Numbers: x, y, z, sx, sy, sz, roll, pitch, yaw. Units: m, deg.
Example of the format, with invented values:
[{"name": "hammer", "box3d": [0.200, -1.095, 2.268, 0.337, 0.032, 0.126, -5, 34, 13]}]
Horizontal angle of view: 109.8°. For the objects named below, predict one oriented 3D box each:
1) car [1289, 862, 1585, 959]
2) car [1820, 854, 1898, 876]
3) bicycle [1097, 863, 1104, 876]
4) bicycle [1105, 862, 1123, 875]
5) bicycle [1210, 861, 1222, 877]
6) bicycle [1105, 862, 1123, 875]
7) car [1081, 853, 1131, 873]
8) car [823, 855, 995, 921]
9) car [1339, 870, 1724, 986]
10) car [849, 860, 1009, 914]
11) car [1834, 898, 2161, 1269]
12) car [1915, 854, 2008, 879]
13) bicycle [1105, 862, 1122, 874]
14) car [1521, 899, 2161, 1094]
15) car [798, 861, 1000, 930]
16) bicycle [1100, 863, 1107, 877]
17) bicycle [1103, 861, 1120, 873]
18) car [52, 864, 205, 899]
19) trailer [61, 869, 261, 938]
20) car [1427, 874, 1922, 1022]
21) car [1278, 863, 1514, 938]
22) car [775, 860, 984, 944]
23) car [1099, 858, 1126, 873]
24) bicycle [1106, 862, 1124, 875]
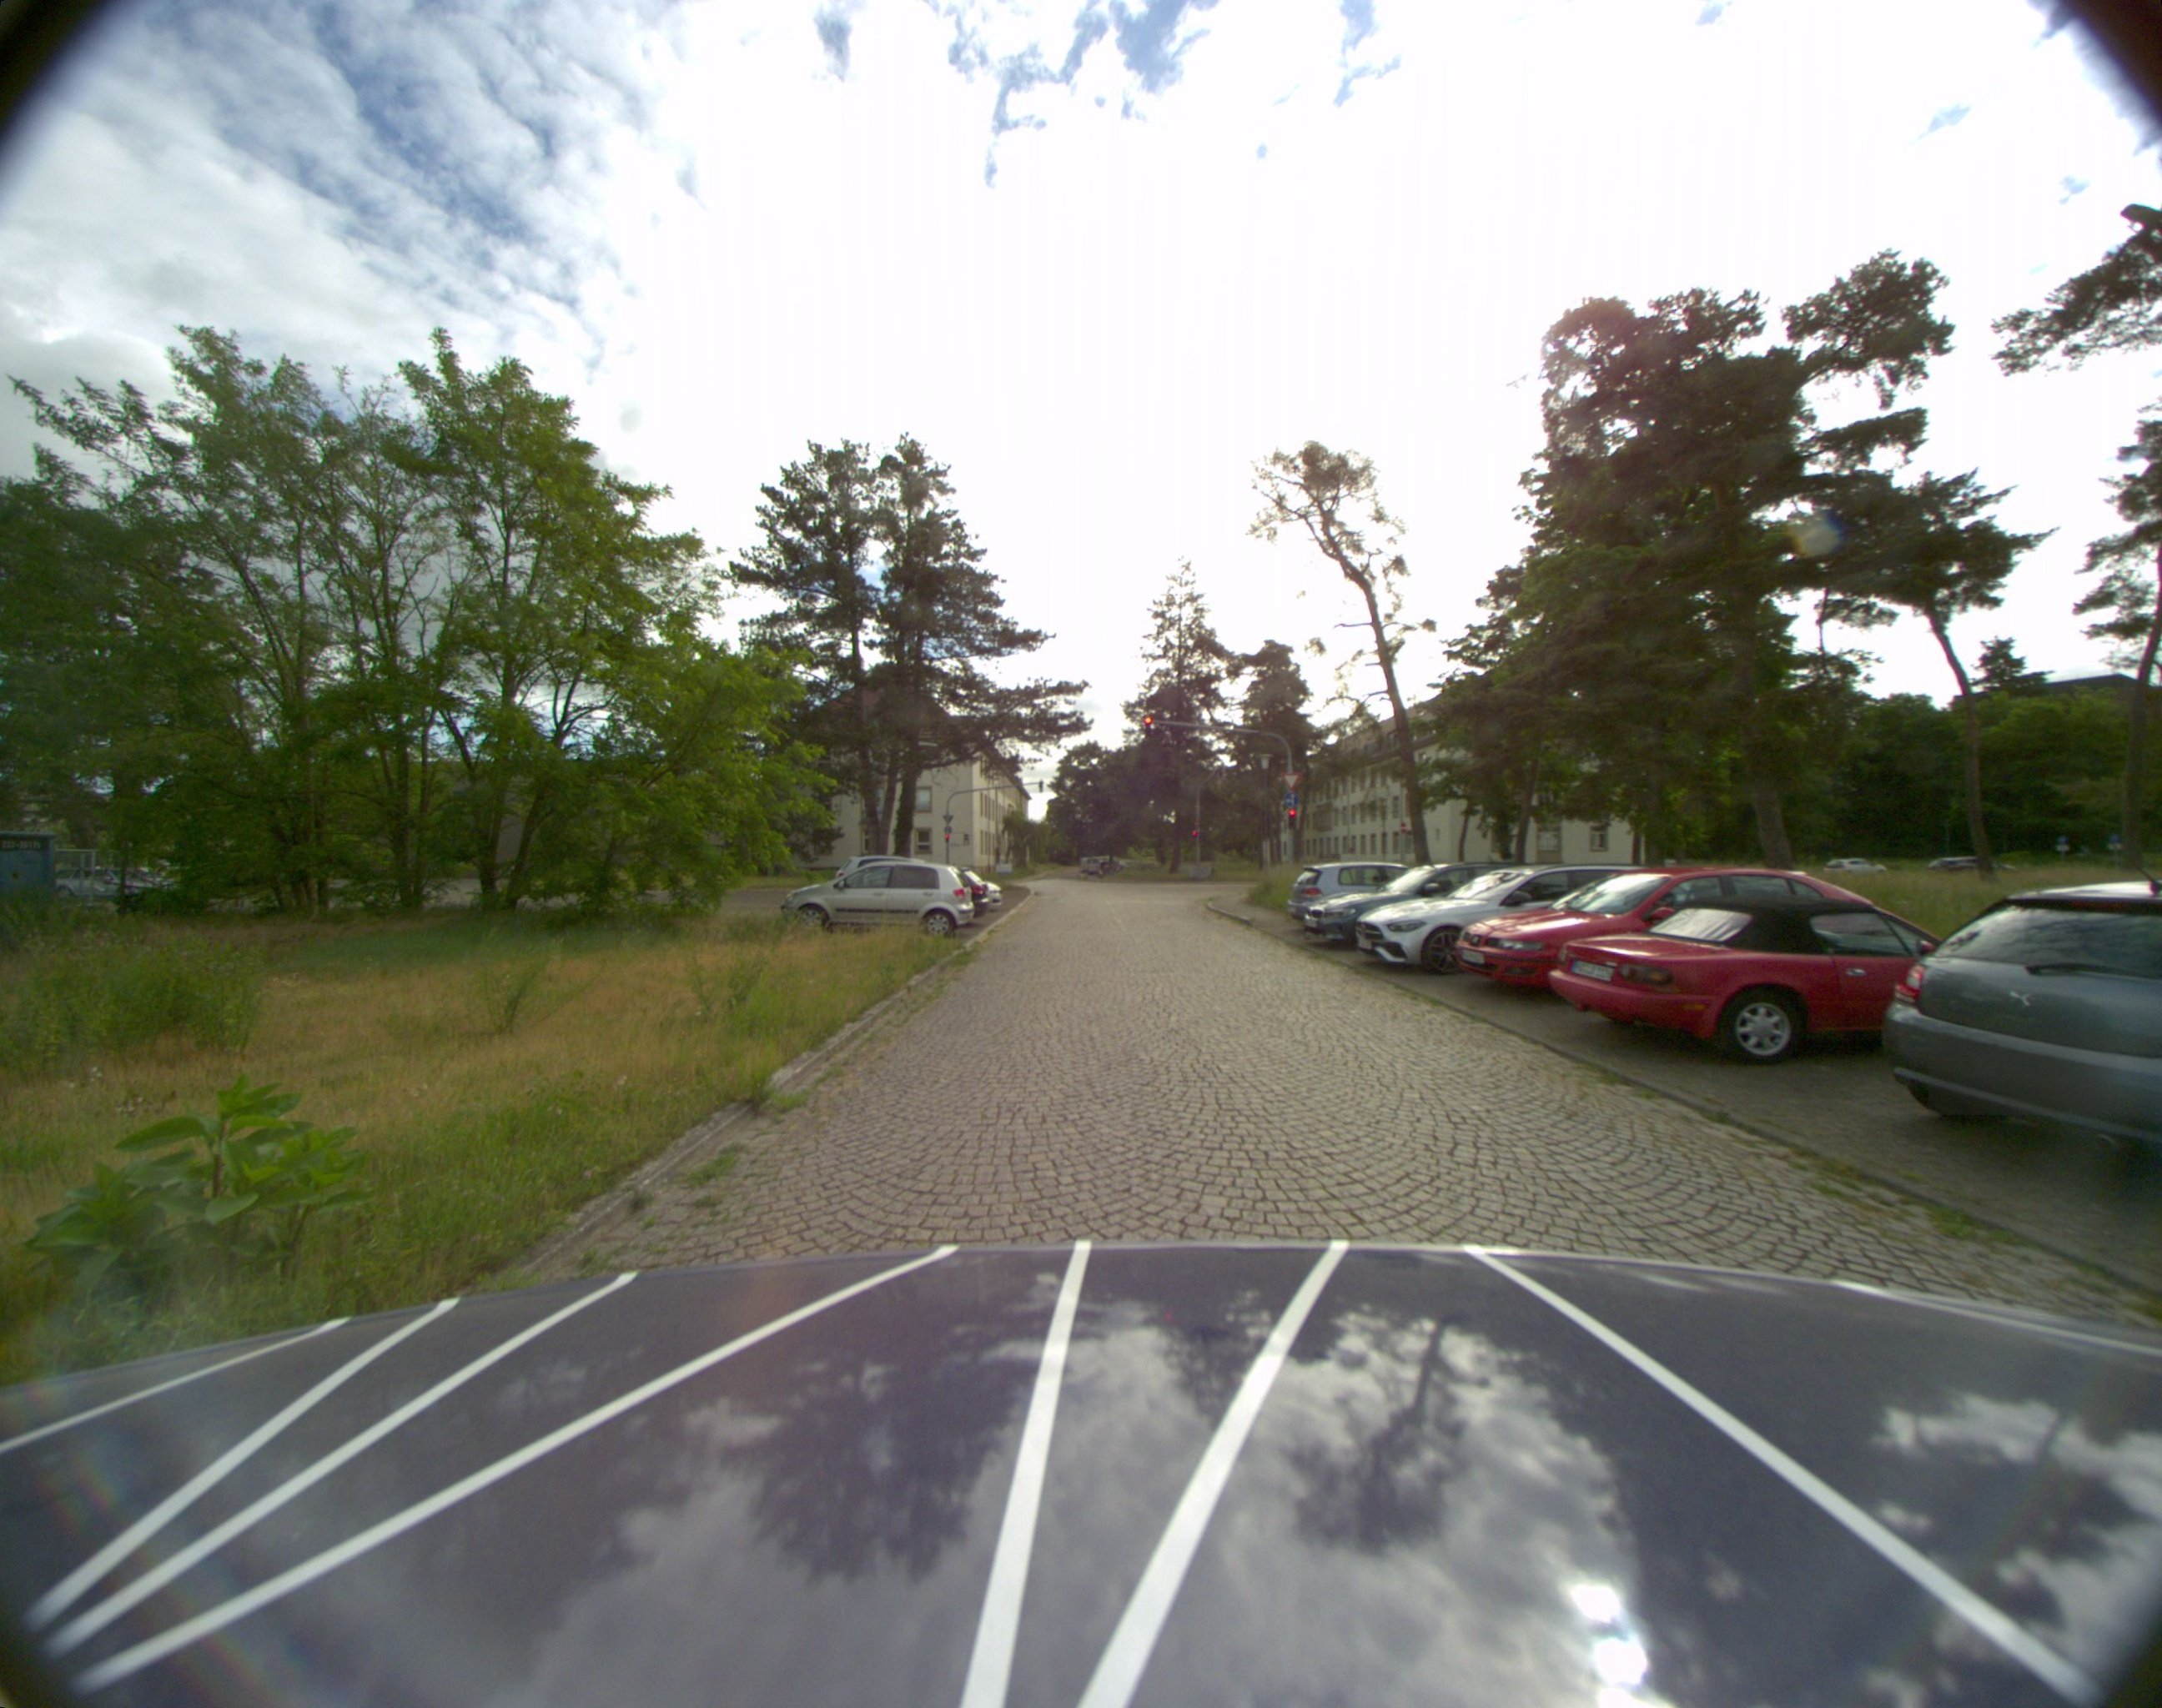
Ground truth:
[{"name": "car", "box3d": [6.292, 0.960, 13.765, 4.514, 1.528, 1.870, -1, 1, -3]}, {"name": "car", "box3d": [59.761, 0.858, 58.391, 4.053, 1.601, 1.717, -1, 2, 4]}, {"name": "bicycle", "box3d": [1.636, 1.276, 63.786, 0.497, 1.032, 1.416, -3, 1, -1]}, {"name": "bicycle", "box3d": [2.890, 1.252, 65.973, 1.457, 1.032, 0.497, -3, 1, -5]}, {"name": "bicycle", "box3d": [9.384, 1.007, 52.857, 0.497, 1.068, 1.416, -3, 1, -3]}, {"name": "bicycle", "box3d": [2.827, 1.238, 65.177, 1.457, 1.032, 0.497, -3, 1, -7]}, {"name": "car", "box3d": [2.727, 0.990, 83.286, 5.173, 1.905, 2.034, -2, 0, -13]}, {"name": "car", "box3d": [-4.620, 0.912, 20.958, 4.342, 1.565, 1.826, 2, 1, -5]}, {"name": "car", "box3d": [6.319, 1.009, 11.080, 4.447, 1.447, 1.949, -1, 1, 1]}, {"name": "car", "box3d": [-4.600, 0.991, 23.536, 4.562, 1.417, 1.826, 2, 1, -3]}, {"name": "car", "box3d": [6.621, 0.996, 3.706, 4.098, 1.472, 1.755, -1, 0, 1]}, {"name": "car", "box3d": [59.034, 0.827, 50.987, 4.054, 1.601, 1.716, -1, 2, 2]}, {"name": "bicycle", "box3d": [2.924, 1.235, 68.283, 1.457, 1.032, 0.497, -3, 1, -5]}, {"name": "car", "box3d": [6.282, 1.085, 6.389, 4.141, 1.275, 1.764, -1, 0, 0]}, {"name": "car", "box3d": [-4.261, 0.965, 18.270, 4.377, 1.397, 1.796, 2, -1, -1]}, {"name": "bicycle", "box3d": [1.821, 1.277, 62.181, 0.497, 1.068, 1.416, -3, 1, -1]}, {"name": "bicycle", "box3d": [2.873, 1.264, 71.889, 1.457, 1.032, 0.497, -3, 1, -5]}, {"name": "car", "box3d": [-41.938, 1.186, 33.545, 4.149, 1.465, 1.864, 0, 0, -4]}, {"name": "trailer", "box3d": [-17.380, 0.916, 14.425, 2.319, 1.163, 1.143, -1, 1, -1]}, {"name": "car", "box3d": [6.546, 0.995, 8.770, 4.265, 1.446, 1.855, -1, 0, 0]}, {"name": "car", "box3d": [6.650, 0.965, 16.391, 4.339, 1.462, 1.827, -1, 1, 2]}, {"name": "car", "box3d": [-4.001, 0.953, 15.568, 3.782, 1.471, 1.743, 3, -1, -3]}, {"name": "car", "box3d": [3.294, 1.206, 79.948, 2.771, 1.407, 1.592, -3, 0, -1]}, {"name": "bicycle", "box3d": [3.020, 1.257, 67.007, 1.457, 1.032, 0.497, -3, 1, -5]}]
